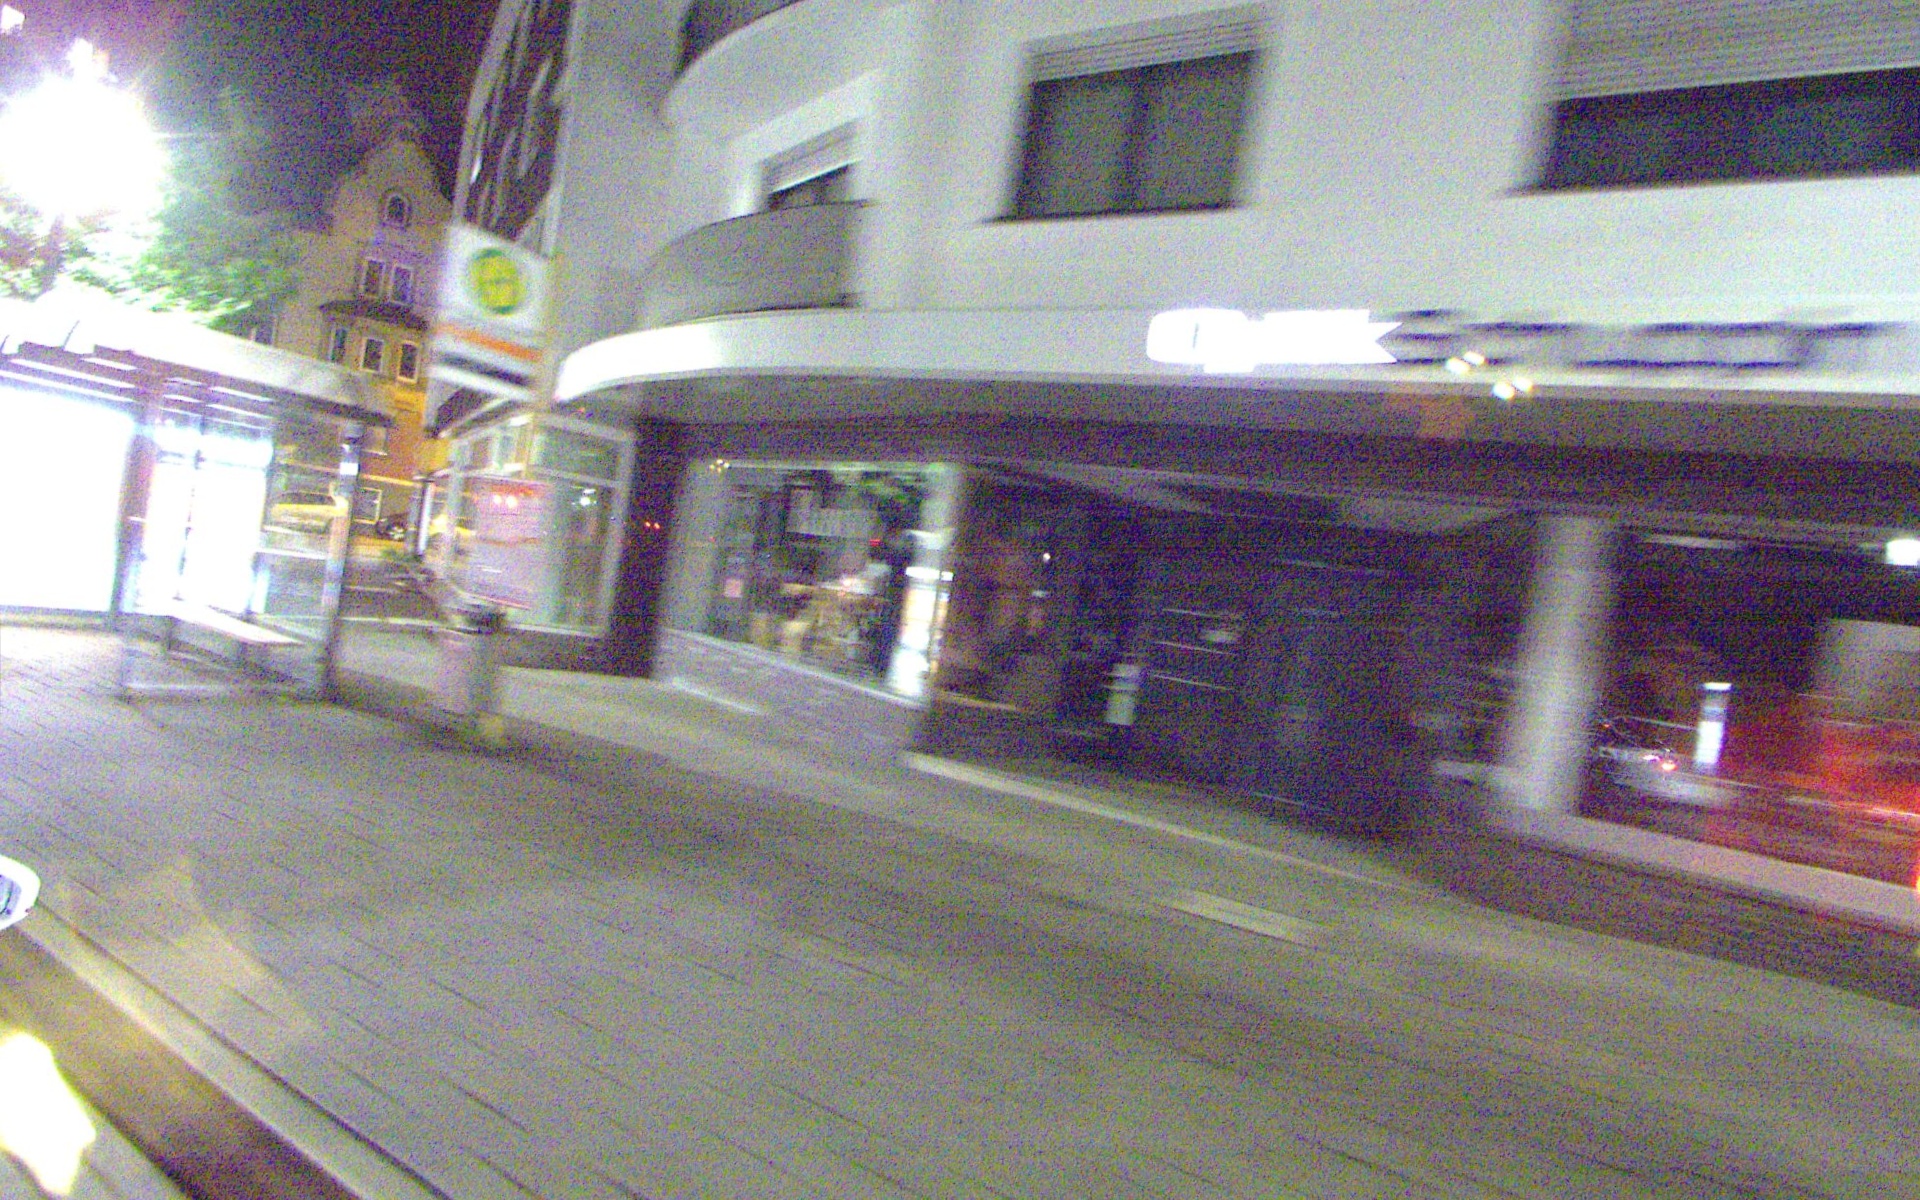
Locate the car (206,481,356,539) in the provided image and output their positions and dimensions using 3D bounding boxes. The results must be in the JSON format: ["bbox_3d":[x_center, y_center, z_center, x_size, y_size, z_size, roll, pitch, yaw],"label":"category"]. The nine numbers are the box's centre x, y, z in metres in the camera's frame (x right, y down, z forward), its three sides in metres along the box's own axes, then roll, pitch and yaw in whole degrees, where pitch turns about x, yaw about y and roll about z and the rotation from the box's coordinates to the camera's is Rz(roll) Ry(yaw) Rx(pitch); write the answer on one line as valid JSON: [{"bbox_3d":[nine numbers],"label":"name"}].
[{"bbox_3d":[-23.997,-3.155,35.656,1.798,1.472,4.036,8,2,39],"label":"car"}]

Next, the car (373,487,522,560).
[{"bbox_3d":[-19.624,-2.877,38.782,4.782,1.932,2.148,8,-2,-23],"label":"car"}]
